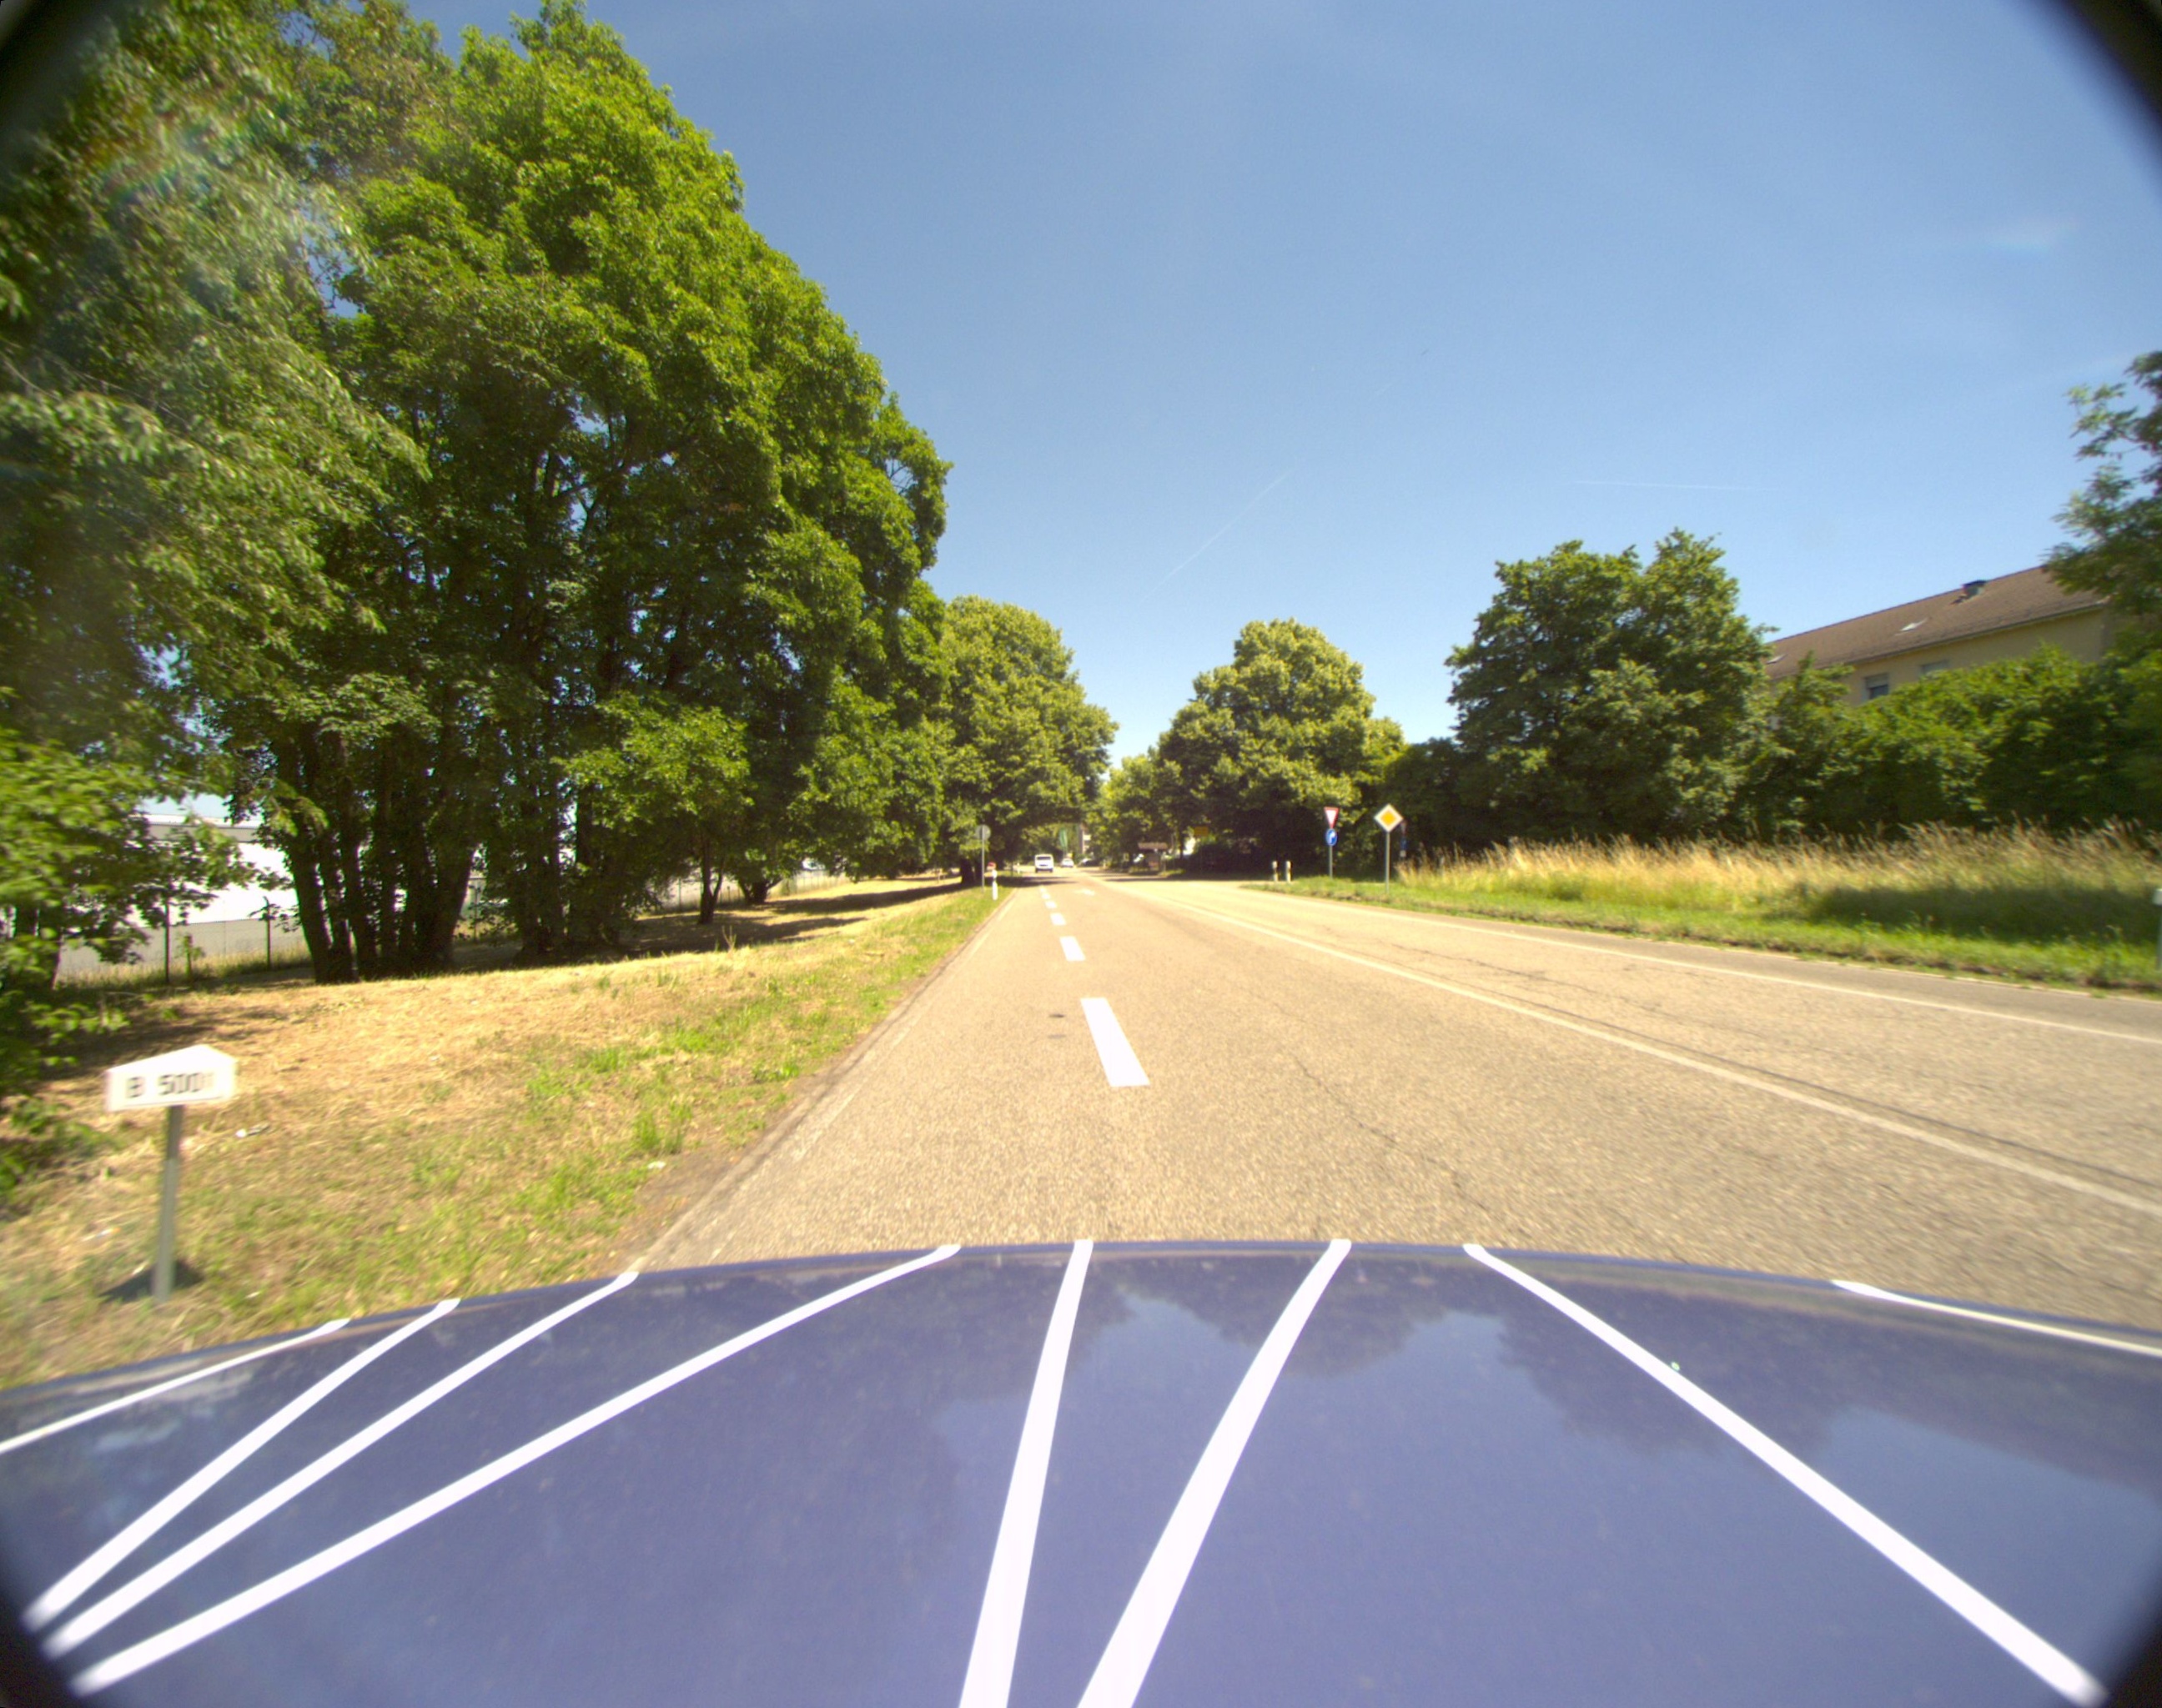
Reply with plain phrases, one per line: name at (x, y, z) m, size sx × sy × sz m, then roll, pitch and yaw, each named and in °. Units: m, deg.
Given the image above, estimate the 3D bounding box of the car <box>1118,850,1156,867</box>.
car at (7.052, 0.542, 95.995) m, size 4.370 × 1.969 × 1.903 m, roll -2°, pitch 1°, yaw -8°

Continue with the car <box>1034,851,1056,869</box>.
car at (-3.928, 0.662, 82.862) m, size 1.798 × 1.904 × 3.637 m, roll -1°, pitch 0°, yaw -11°

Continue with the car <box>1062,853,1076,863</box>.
car at (-2.171, 0.744, 133.193) m, size 2.100 × 1.579 × 4.473 m, roll -3°, pitch 0°, yaw -4°
